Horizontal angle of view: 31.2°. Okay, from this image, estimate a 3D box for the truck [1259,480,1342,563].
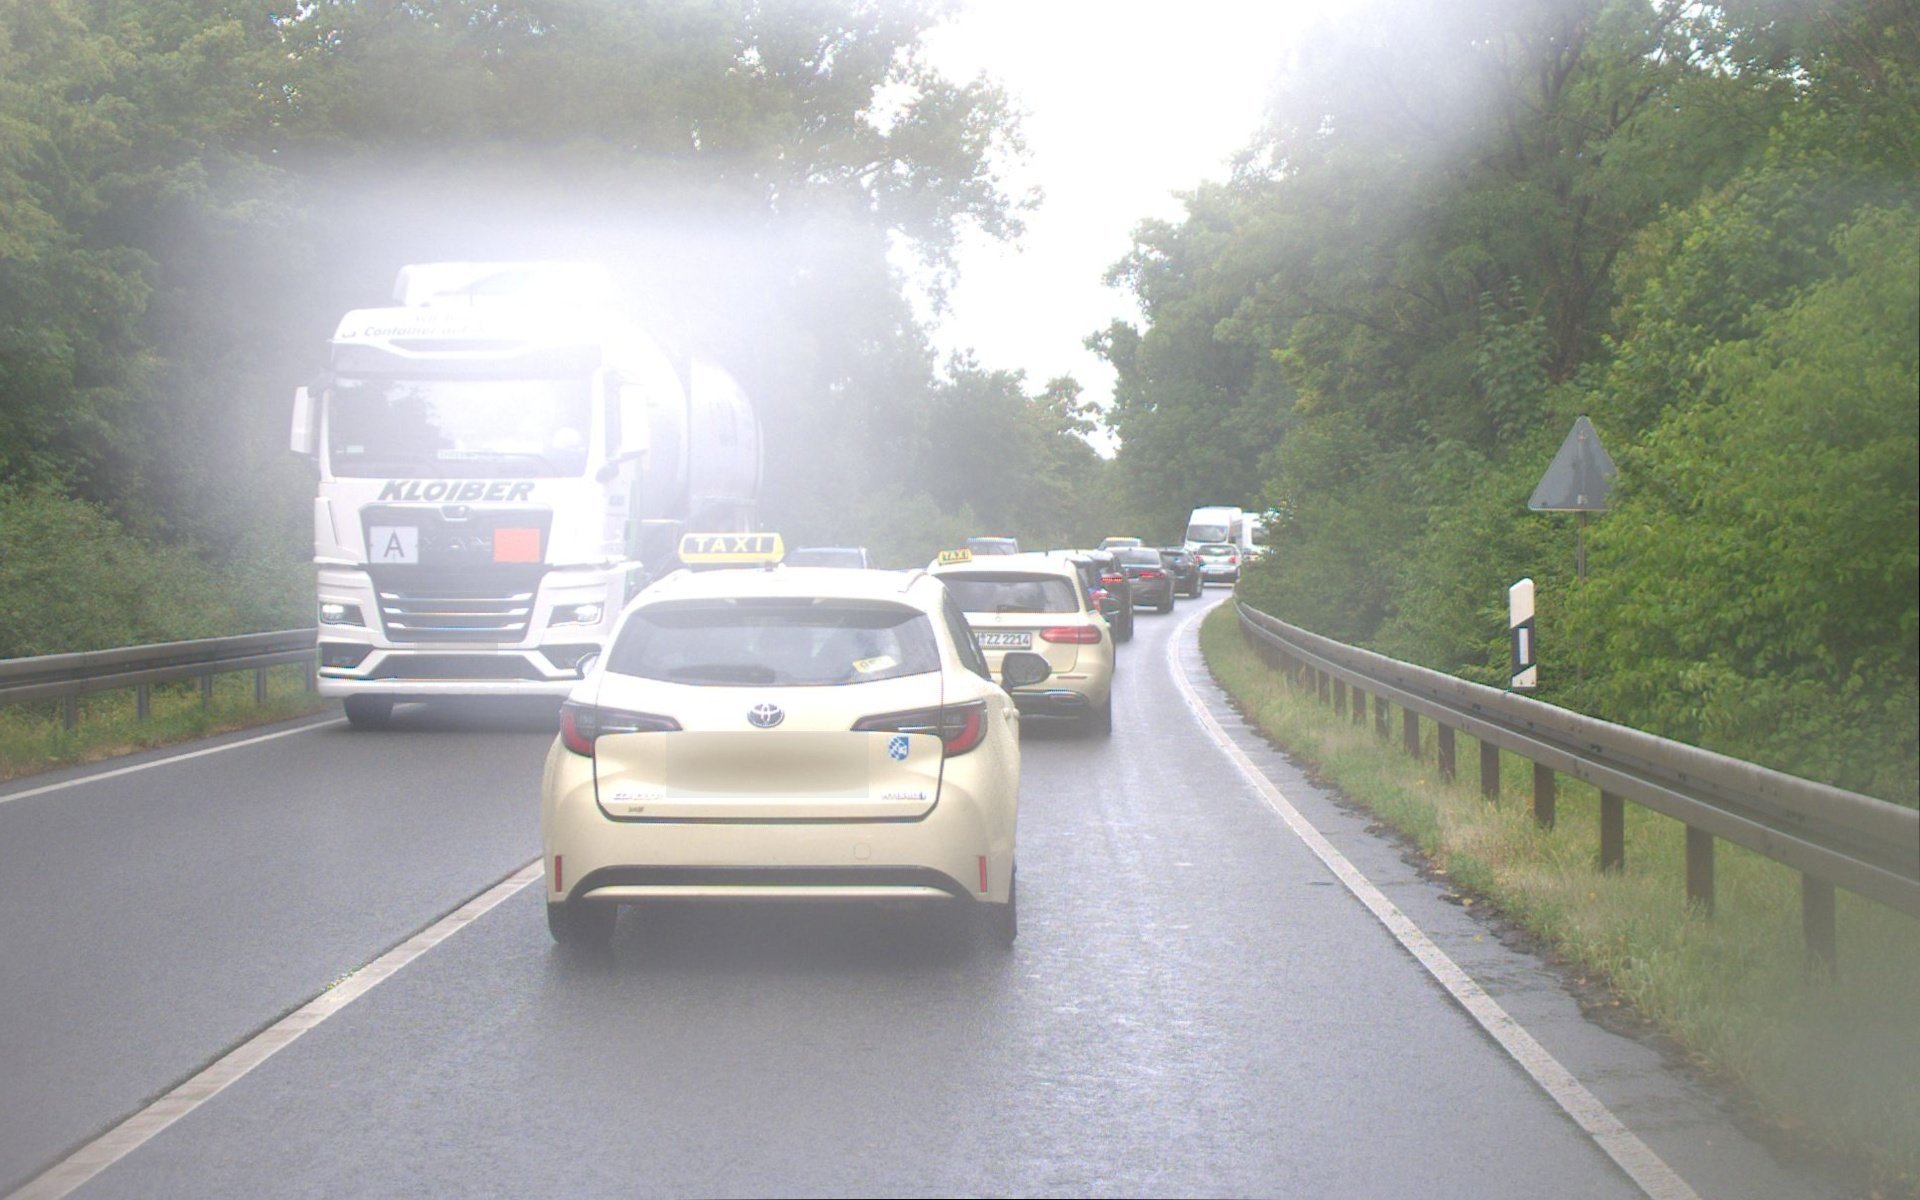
[{"bbox_3d":[15.772,-3.611,159.063,3.108,3.668,6.996,1,0,11],"label":"truck"}]

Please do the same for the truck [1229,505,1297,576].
[{"bbox_3d":[12.077,-2.345,137.377,2.550,2.704,7.534,1,0,4],"label":"truck"}]

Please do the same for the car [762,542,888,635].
[{"bbox_3d":[-2.280,-0.196,58.913,1.707,1.510,3.912,1,0,4],"label":"car"}]

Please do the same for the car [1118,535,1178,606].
[{"bbox_3d":[4.222,-0.659,76.911,1.167,1.541,2.603,1,0,6],"label":"car"}]

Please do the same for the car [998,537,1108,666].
[{"bbox_3d":[1.171,0.006,43.142,1.300,1.541,3.260,1,0,2],"label":"car"}]

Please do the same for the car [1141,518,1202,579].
[{"bbox_3d":[5.838,-1.406,94.967,1.616,1.607,3.621,1,0,3],"label":"car"}]

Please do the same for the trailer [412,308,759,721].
[{"bbox_3d":[-3.713,-0.820,35.889,2.536,3.812,7.791,1,0,1],"label":"trailer"}]

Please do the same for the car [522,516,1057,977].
[{"bbox_3d":[-0.612,0.495,14.005,1.833,1.575,4.157,1,0,-1],"label":"car"}]

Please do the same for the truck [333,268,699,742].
[{"bbox_3d":[-3.801,-0.788,30.504,2.536,3.812,5.245,1,0,0],"label":"truck"}]

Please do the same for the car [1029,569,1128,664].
[{"bbox_3d":[1.967,0.244,58.016,1.611,1.541,3.814,0,1,1],"label":"car"}]

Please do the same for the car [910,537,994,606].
[{"bbox_3d":[-0.169,-0.718,84.700,1.847,1.638,4.298,1,1,3],"label":"car"}]

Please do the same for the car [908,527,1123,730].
[{"bbox_3d":[0.522,0.214,28.970,1.667,1.575,3.892,1,0,3],"label":"car"}]

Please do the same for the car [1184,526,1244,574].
[{"bbox_3d":[8.530,-1.675,115.126,1.770,1.541,3.813,1,0,7],"label":"car"}]
